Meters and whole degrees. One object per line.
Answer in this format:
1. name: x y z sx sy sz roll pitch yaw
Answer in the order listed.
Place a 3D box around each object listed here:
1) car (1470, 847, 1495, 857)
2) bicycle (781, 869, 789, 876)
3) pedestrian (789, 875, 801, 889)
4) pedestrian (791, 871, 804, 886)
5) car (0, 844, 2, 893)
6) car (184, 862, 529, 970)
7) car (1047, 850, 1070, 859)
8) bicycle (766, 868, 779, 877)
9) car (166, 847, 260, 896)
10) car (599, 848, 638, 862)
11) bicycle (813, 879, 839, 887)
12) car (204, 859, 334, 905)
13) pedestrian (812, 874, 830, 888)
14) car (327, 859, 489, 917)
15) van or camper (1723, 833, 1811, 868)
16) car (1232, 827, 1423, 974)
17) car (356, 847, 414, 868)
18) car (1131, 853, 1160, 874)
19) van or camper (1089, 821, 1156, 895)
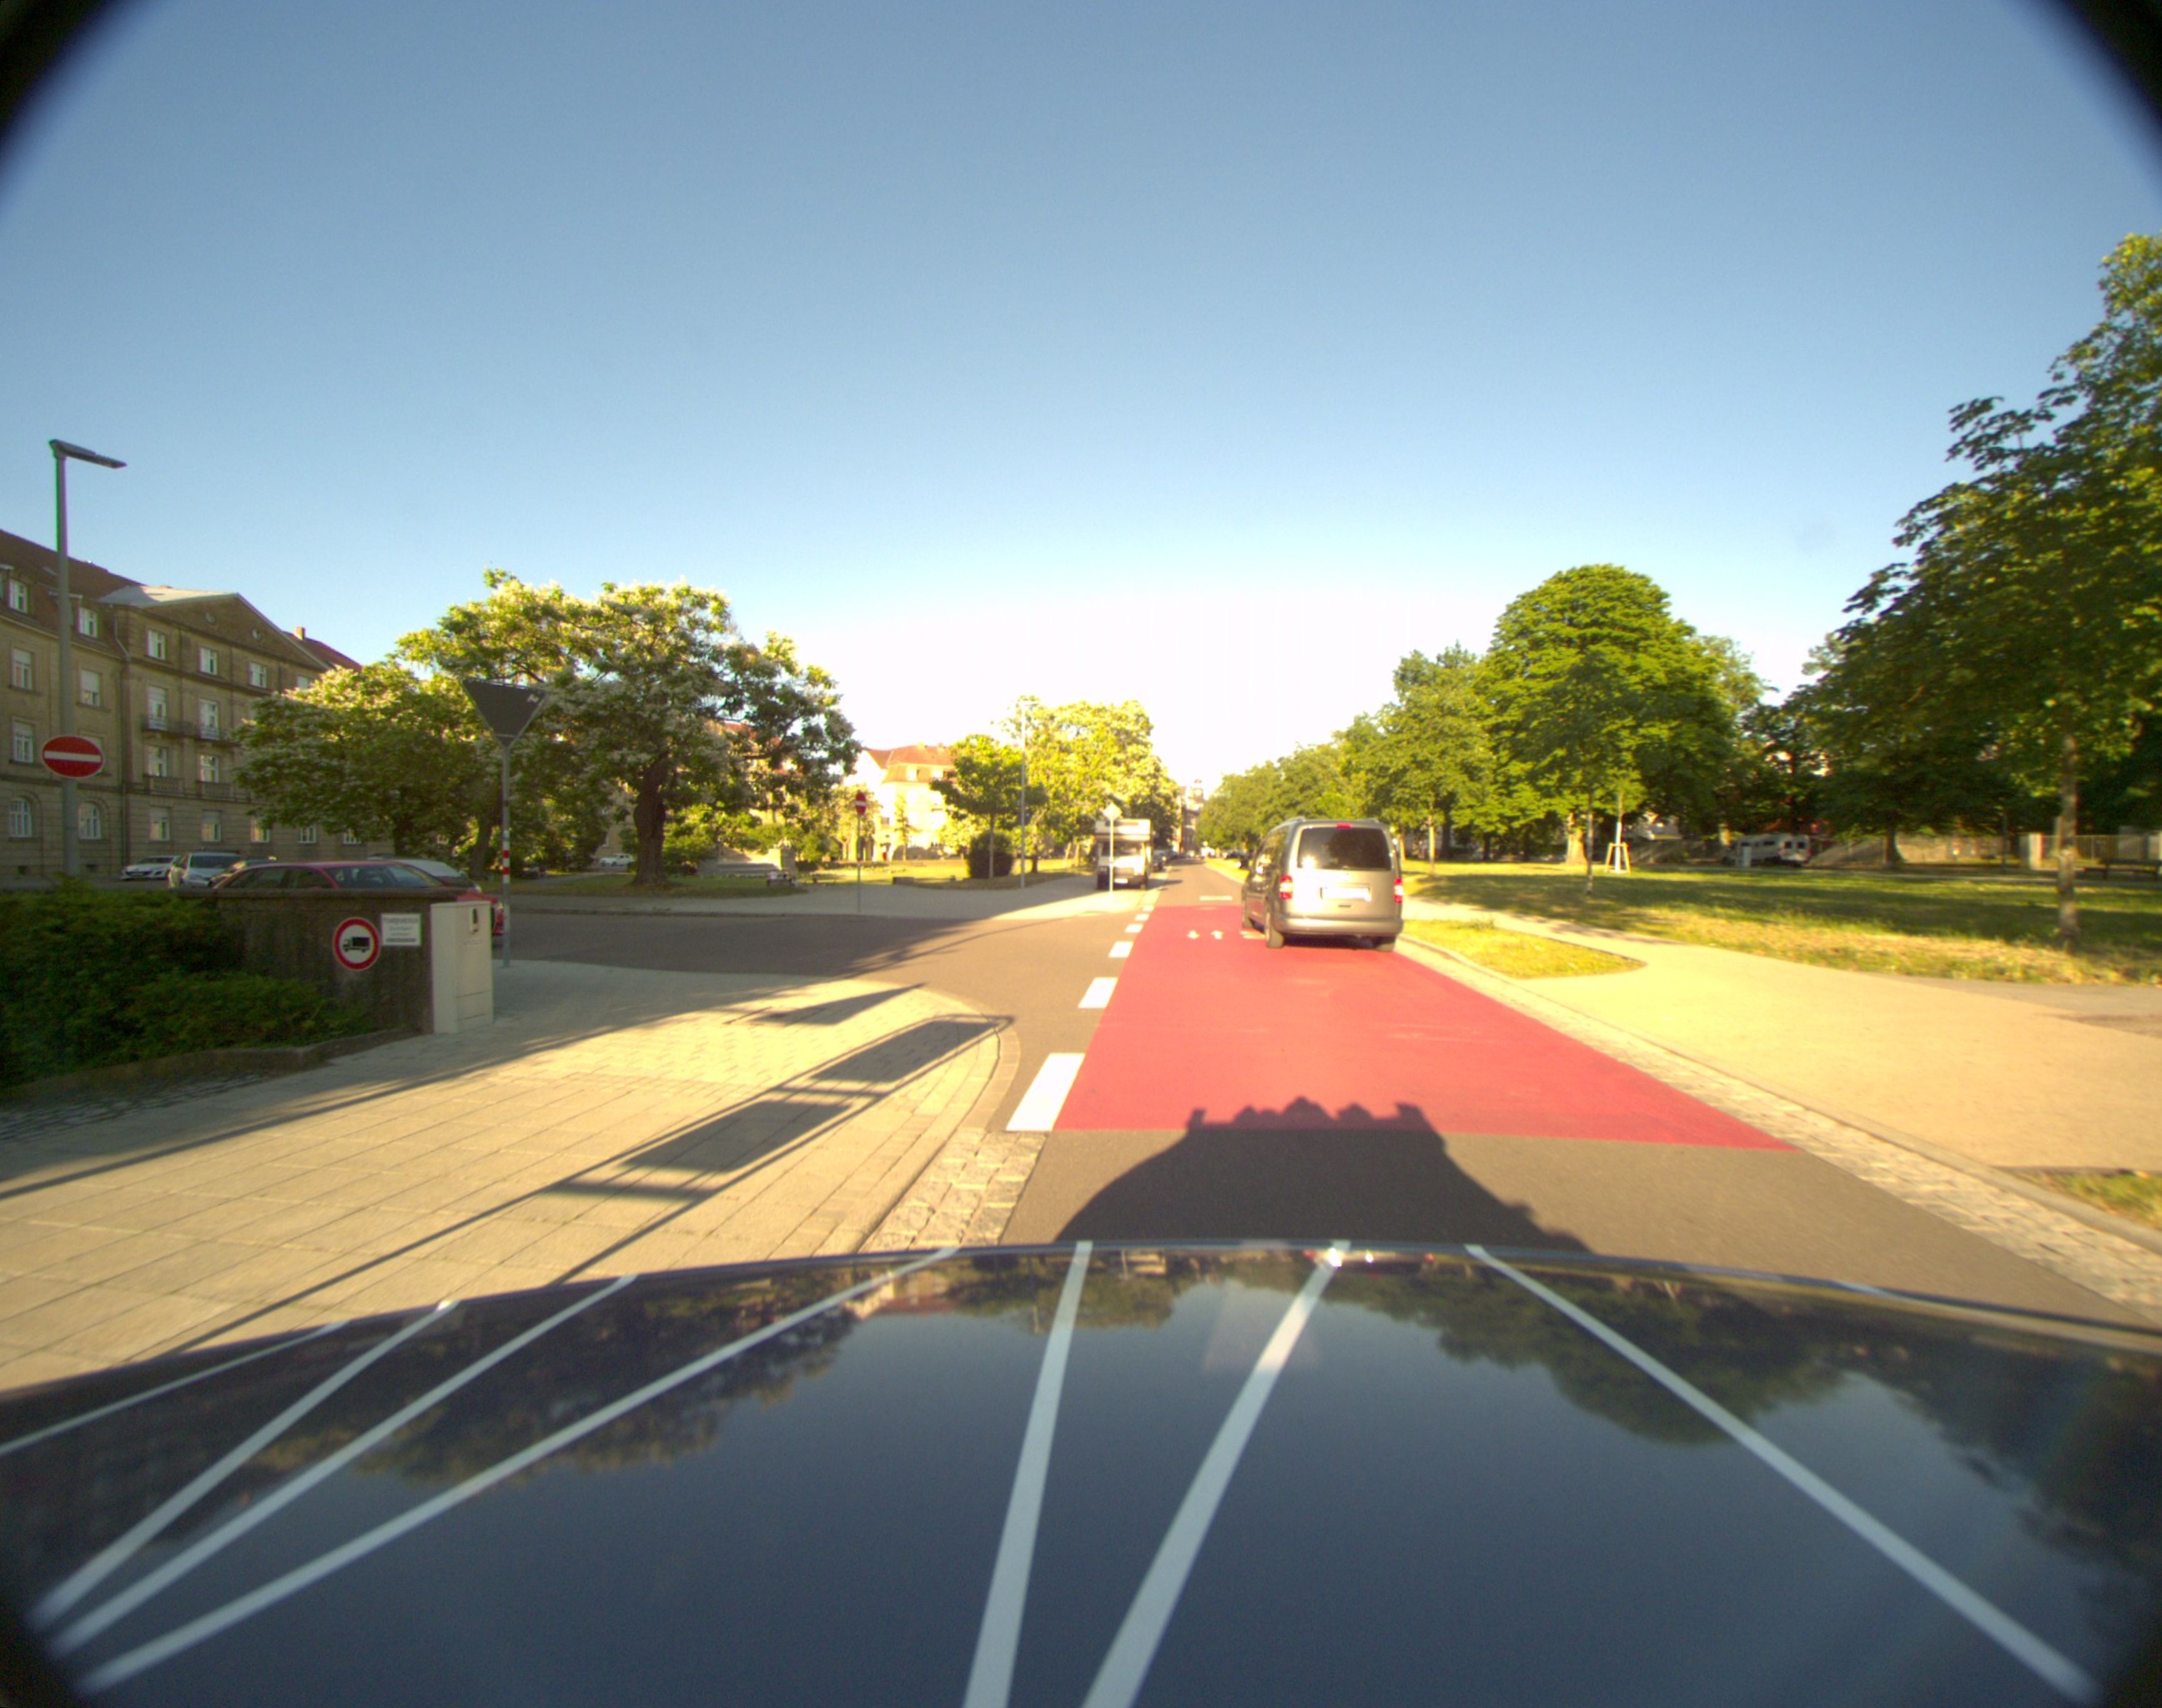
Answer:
1. car: 57.861 -0.323 109.562 1.795 1.455 4.002 -1 0 7
2. bicycle: -24.205 1.532 62.152 0.488 0.579 0.438 -1 1 -32
3. pedestrian: -15.658 1.549 41.605 0.498 0.742 0.455 -1 1 3
4. pedestrian: -16.391 1.408 43.927 0.453 0.830 0.499 -1 1 40
5. car: -39.175 0.523 26.218 4.035 1.785 1.710 -1 1 42
6. car: -11.145 0.905 11.812 4.040 1.412 1.790 -1 3 11
7. car: -3.962 0.021 133.929 3.705 1.490 1.724 -1 0 -11
8. bicycle: -25.044 1.505 61.611 0.907 0.648 0.438 -1 1 -32
9. car: -30.470 0.616 26.665 3.694 1.617 1.730 -1 -1 34
10. car: -53.796 0.142 88.371 1.723 1.489 3.709 -1 -1 14
11. bicycle: -15.069 1.721 44.931 0.658 0.380 1.934 0 0 10
12. car: -24.198 0.817 22.633 3.695 1.289 1.730 -1 -1 28
13. pedestrian: -14.562 1.496 42.531 0.812 0.760 0.497 0 0 -44
14. car: -17.814 0.869 20.112 3.990 1.419 1.729 -1 -1 24
15. van or camper: 50.941 -0.275 56.613 1.997 2.425 5.469 1 0 6
16. car: 3.577 0.548 11.951 1.847 1.837 4.574 1 1 5
17. car: -52.813 0.298 57.770 1.727 1.489 3.700 0 -1 -15
18. car: 4.794 0.683 56.307 1.997 1.501 4.002 -1 0 7
19. van or camper: 1.857 0.097 32.046 2.426 2.767 5.954 2 1 6
